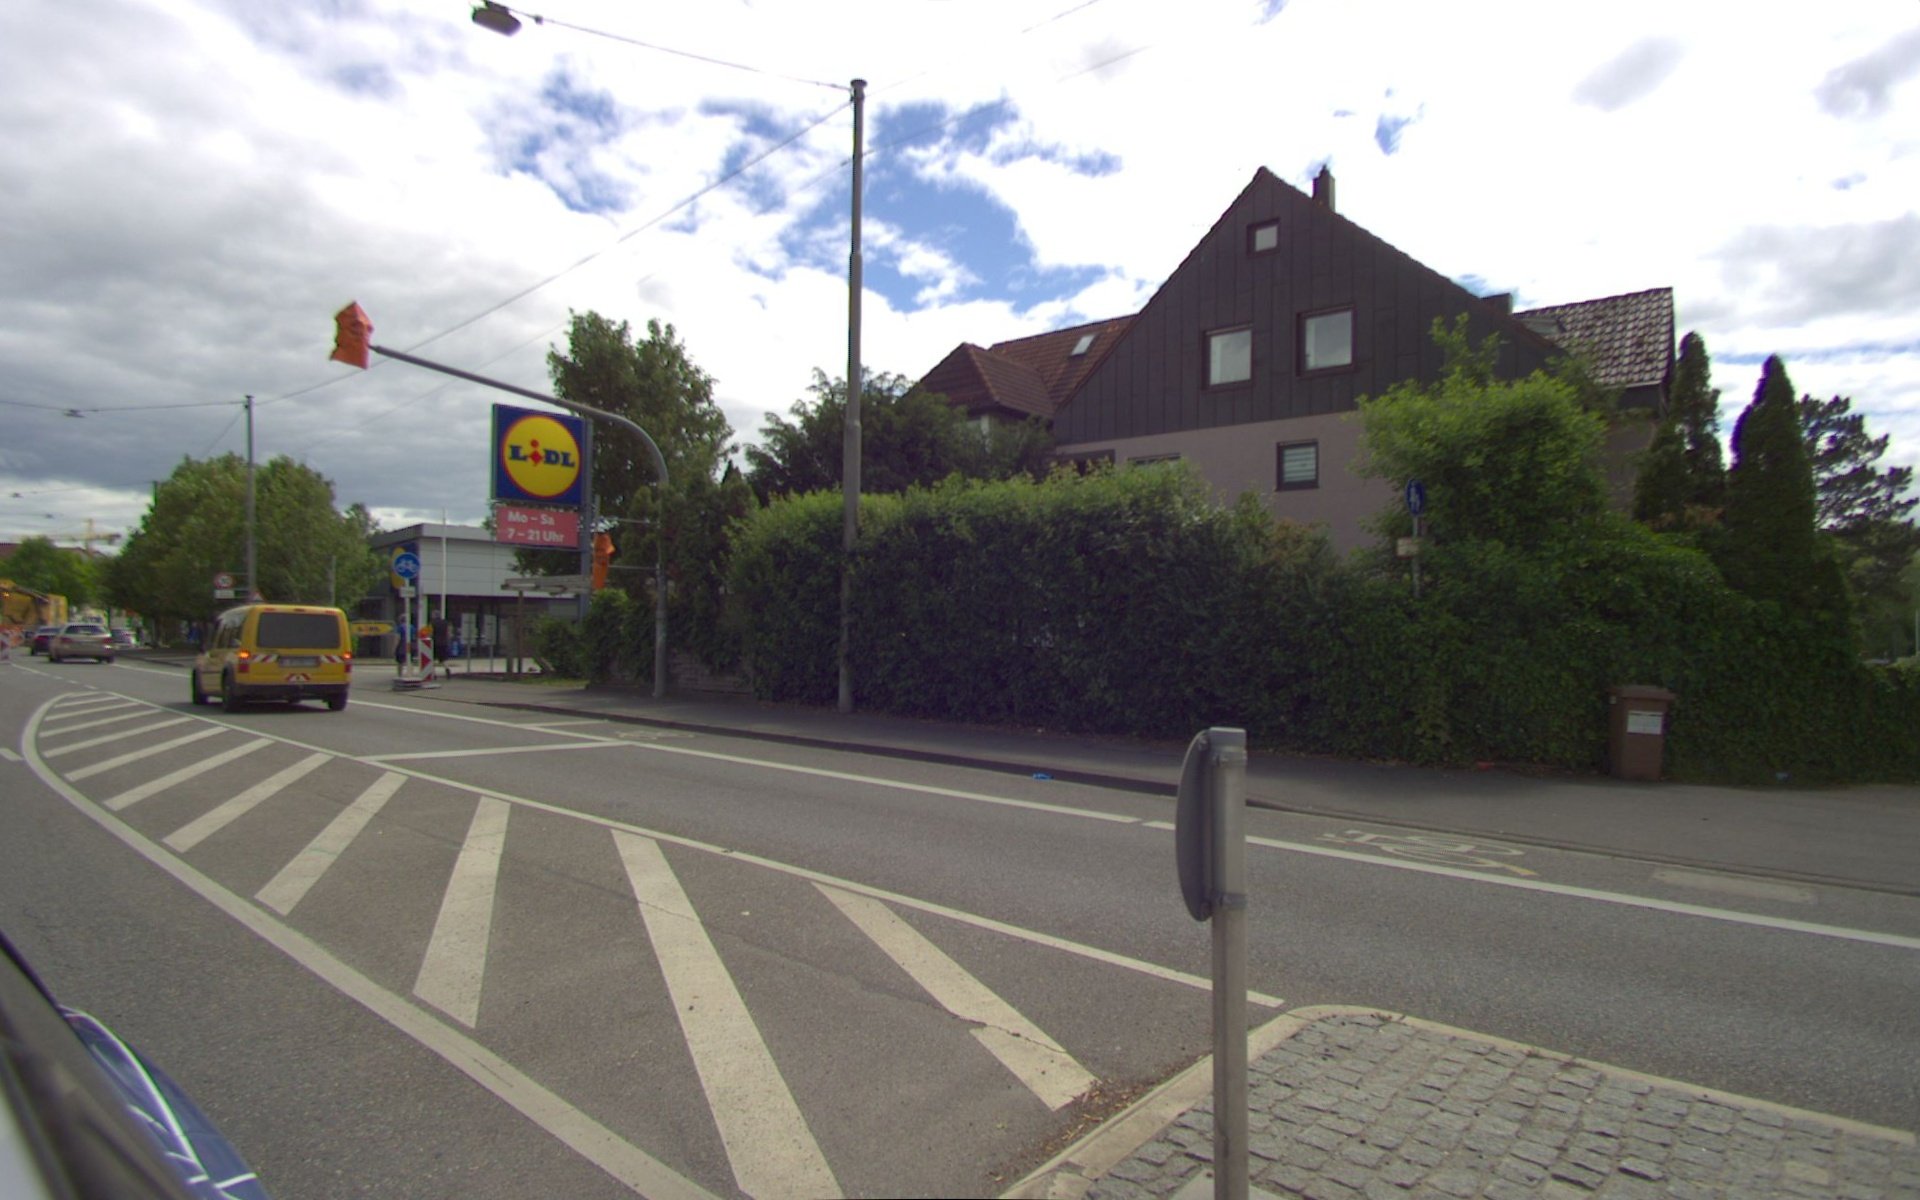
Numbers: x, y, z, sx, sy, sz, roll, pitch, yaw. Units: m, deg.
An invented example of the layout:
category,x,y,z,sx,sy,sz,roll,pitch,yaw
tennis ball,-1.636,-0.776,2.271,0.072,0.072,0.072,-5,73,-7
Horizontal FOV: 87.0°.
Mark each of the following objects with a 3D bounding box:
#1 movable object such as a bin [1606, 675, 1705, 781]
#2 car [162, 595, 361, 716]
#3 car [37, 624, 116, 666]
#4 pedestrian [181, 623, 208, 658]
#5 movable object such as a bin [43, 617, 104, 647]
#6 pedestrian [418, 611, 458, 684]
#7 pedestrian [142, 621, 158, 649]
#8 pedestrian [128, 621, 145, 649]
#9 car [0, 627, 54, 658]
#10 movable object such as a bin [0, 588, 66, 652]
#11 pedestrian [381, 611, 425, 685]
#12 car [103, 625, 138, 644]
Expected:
category,x,y,z,sx,sy,sz,roll,pitch,yaw
movable object such as a bin,6.664,1.213,9.717,0.532,0.960,0.556,0,-2,-2
car,-12.725,0.950,18.321,4.683,1.919,1.822,-1,-3,41
car,-34.923,1.768,39.963,4.400,1.567,1.731,-1,-3,41
pedestrian,-35.417,1.871,46.830,0.829,1.615,0.745,-1,-3,39
movable object such as a bin,-82.297,3.013,94.067,1.965,2.646,6.543,2,-3,-20
pedestrian,-13.681,1.240,26.532,0.706,1.868,0.674,-1,-3,41
pedestrian,-54.400,2.367,67.946,0.616,1.861,0.624,2,-3,-20
pedestrian,-55.534,2.353,68.264,0.685,1.861,0.624,2,-3,-20
car,-45.899,2.059,49.292,4.809,1.410,1.972,-1,-4,41
movable object such as a bin,-67.379,1.505,73.148,2.556,4.254,11.149,3,-3,-34
pedestrian,-14.263,1.217,25.905,0.892,1.868,0.674,-1,-3,41
car,-69.683,2.874,84.003,1.833,1.525,4.002,3,-3,-45
